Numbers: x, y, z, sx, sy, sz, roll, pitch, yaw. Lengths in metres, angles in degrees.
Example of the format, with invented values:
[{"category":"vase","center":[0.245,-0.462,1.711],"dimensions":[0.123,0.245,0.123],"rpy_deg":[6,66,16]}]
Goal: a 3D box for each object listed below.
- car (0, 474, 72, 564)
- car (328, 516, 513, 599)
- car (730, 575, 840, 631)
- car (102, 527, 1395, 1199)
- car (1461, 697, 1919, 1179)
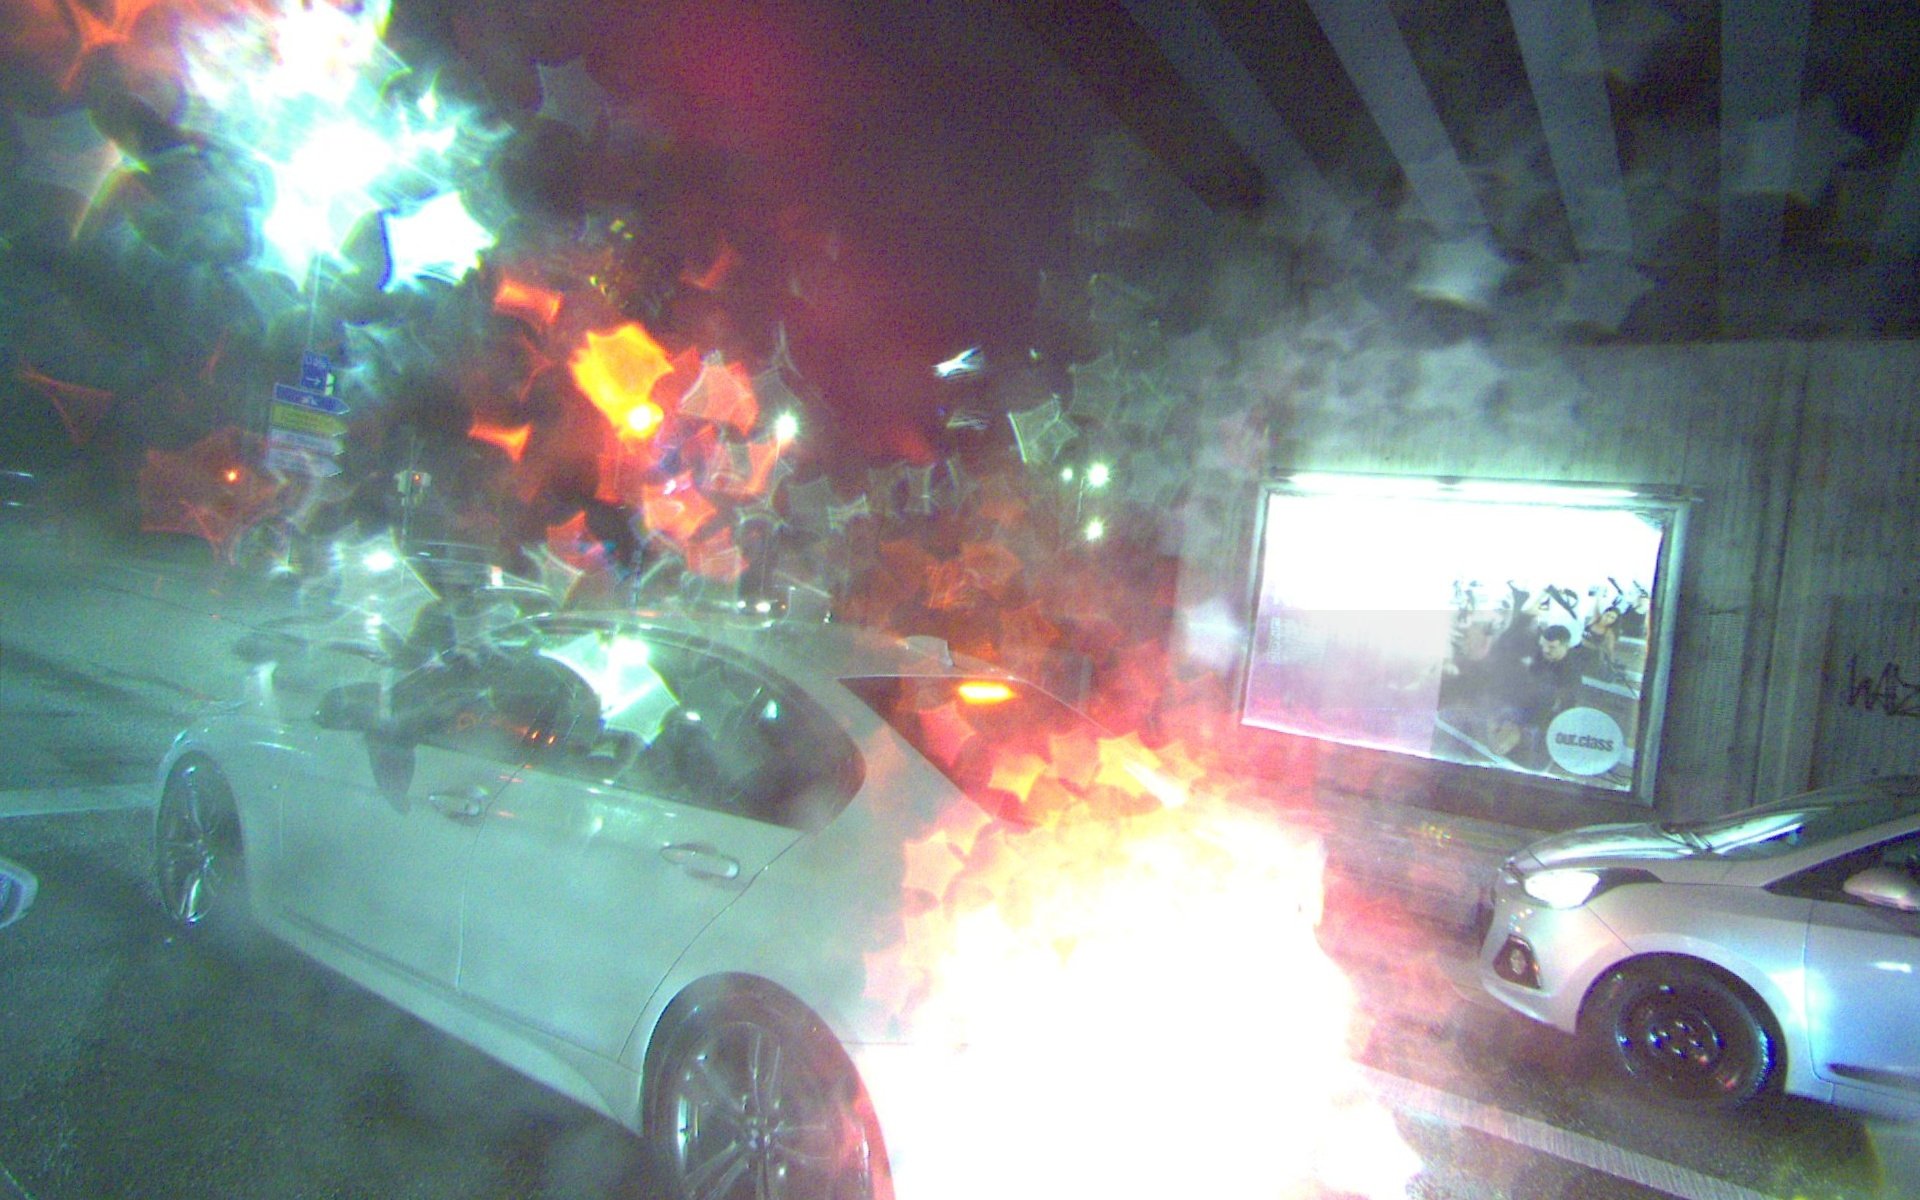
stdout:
[{"category":"car","center":[-21.618,-1.986,20.417],"dimensions":[1.935,1.761,4.920],"rpy_deg":[7,-2,24]},{"category":"car","center":[-16.041,-1.227,30.129],"dimensions":[1.880,1.761,4.388],"rpy_deg":[6,-2,35]},{"category":"car","center":[-7.372,0.163,42.767],"dimensions":[1.831,1.769,4.496],"rpy_deg":[6,-2,35]},{"category":"car","center":[-0.983,0.704,3.500],"dimensions":[4.277,1.420,1.720],"rpy_deg":[6,-2,32]},{"category":"car","center":[4.097,1.387,4.046],"dimensions":[3.532,1.476,1.637],"rpy_deg":[6,-2,30]}]
